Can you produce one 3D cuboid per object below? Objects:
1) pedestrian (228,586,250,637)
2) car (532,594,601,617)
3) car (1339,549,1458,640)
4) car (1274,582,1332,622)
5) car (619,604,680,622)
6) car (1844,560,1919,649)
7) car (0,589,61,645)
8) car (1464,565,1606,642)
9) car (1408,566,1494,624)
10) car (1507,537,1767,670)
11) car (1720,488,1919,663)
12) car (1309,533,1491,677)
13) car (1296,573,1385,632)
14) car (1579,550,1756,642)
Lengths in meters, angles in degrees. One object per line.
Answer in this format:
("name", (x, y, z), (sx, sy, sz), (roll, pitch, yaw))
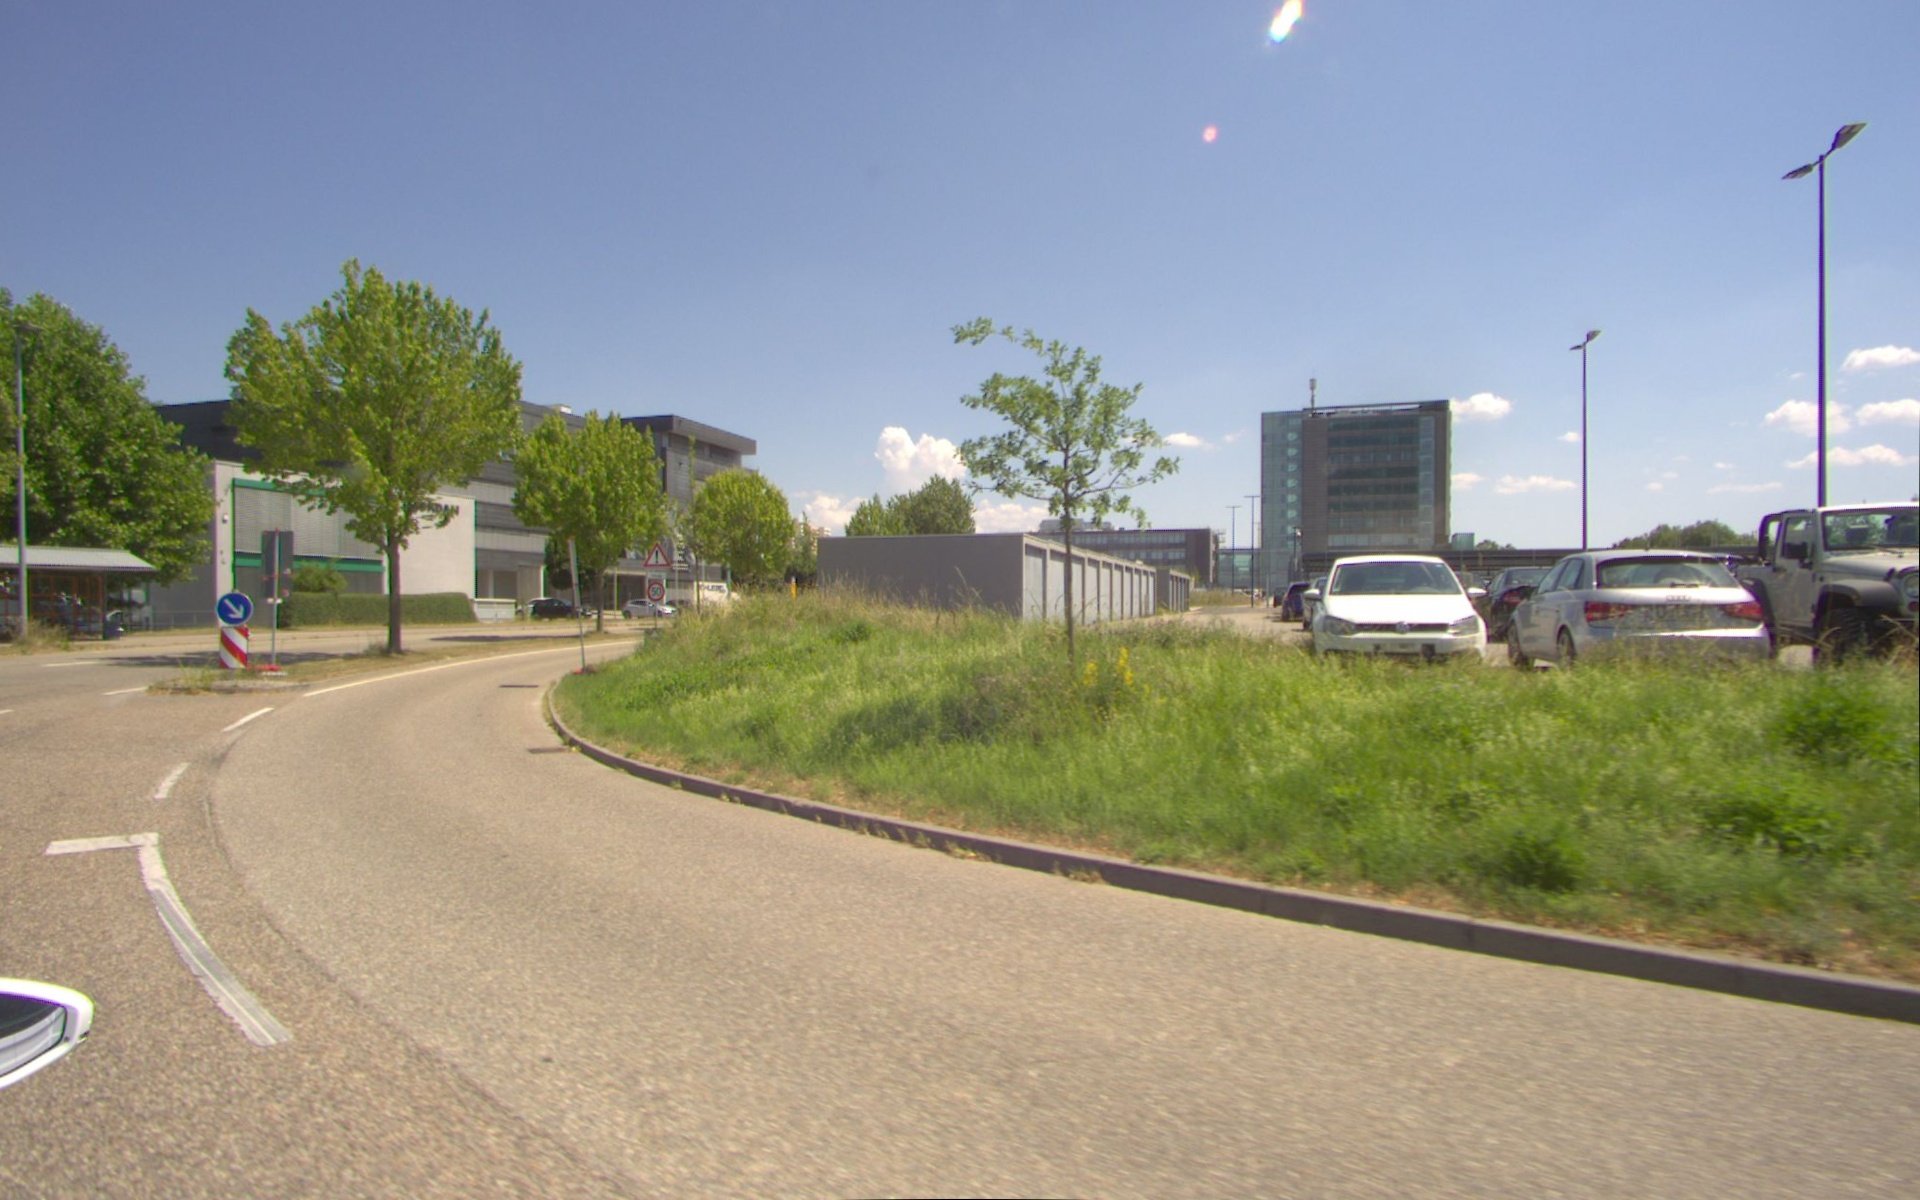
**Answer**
("pedestrian", (-24.529, 0.397, 34.075), (0.526, 1.691, 0.574), (1, -2, -44))
("car", (-25.098, 0.342, 63.857), (3.848, 1.398, 1.702), (-1, 1, 18))
("car", (9.140, -0.046, 21.218), (1.745, 1.712, 4.599), (1, -1, 17))
("car", (12.669, 0.067, 37.114), (1.557, 1.428, 3.473), (0, 0, 11))
("car", (-22.627, 0.975, 73.002), (4.200, 1.197, 1.492), (-2, -2, 18))
("car", (18.004, 0.079, 18.189), (1.494, 1.594, 3.418), (-1, -2, 15))
("car", (-36.986, 0.695, 38.279), (4.183, 2.039, 1.549), (-1, -2, 8))
("car", (11.466, 0.041, 20.228), (1.623, 1.381, 3.842), (-1, 1, 17))
("car", (13.703, -0.143, 28.133), (1.570, 1.519, 3.633), (-1, 1, 17))
("car", (7.208, 0.065, 11.010), (1.475, 1.197, 3.265), (-2, -1, 18))
("car", (9.659, -0.229, 10.431), (1.845, 1.547, 3.738), (-2, -1, 23))
("car", (4.848, 0.084, 11.460), (1.547, 1.314, 3.871), (-2, -1, 19))
("car", (10.133, 0.066, 26.915), (1.621, 1.465, 3.637), (0, 0, 11))
("car", (13.643, -0.081, 19.572), (1.737, 1.619, 3.633), (-1, 1, 17))
